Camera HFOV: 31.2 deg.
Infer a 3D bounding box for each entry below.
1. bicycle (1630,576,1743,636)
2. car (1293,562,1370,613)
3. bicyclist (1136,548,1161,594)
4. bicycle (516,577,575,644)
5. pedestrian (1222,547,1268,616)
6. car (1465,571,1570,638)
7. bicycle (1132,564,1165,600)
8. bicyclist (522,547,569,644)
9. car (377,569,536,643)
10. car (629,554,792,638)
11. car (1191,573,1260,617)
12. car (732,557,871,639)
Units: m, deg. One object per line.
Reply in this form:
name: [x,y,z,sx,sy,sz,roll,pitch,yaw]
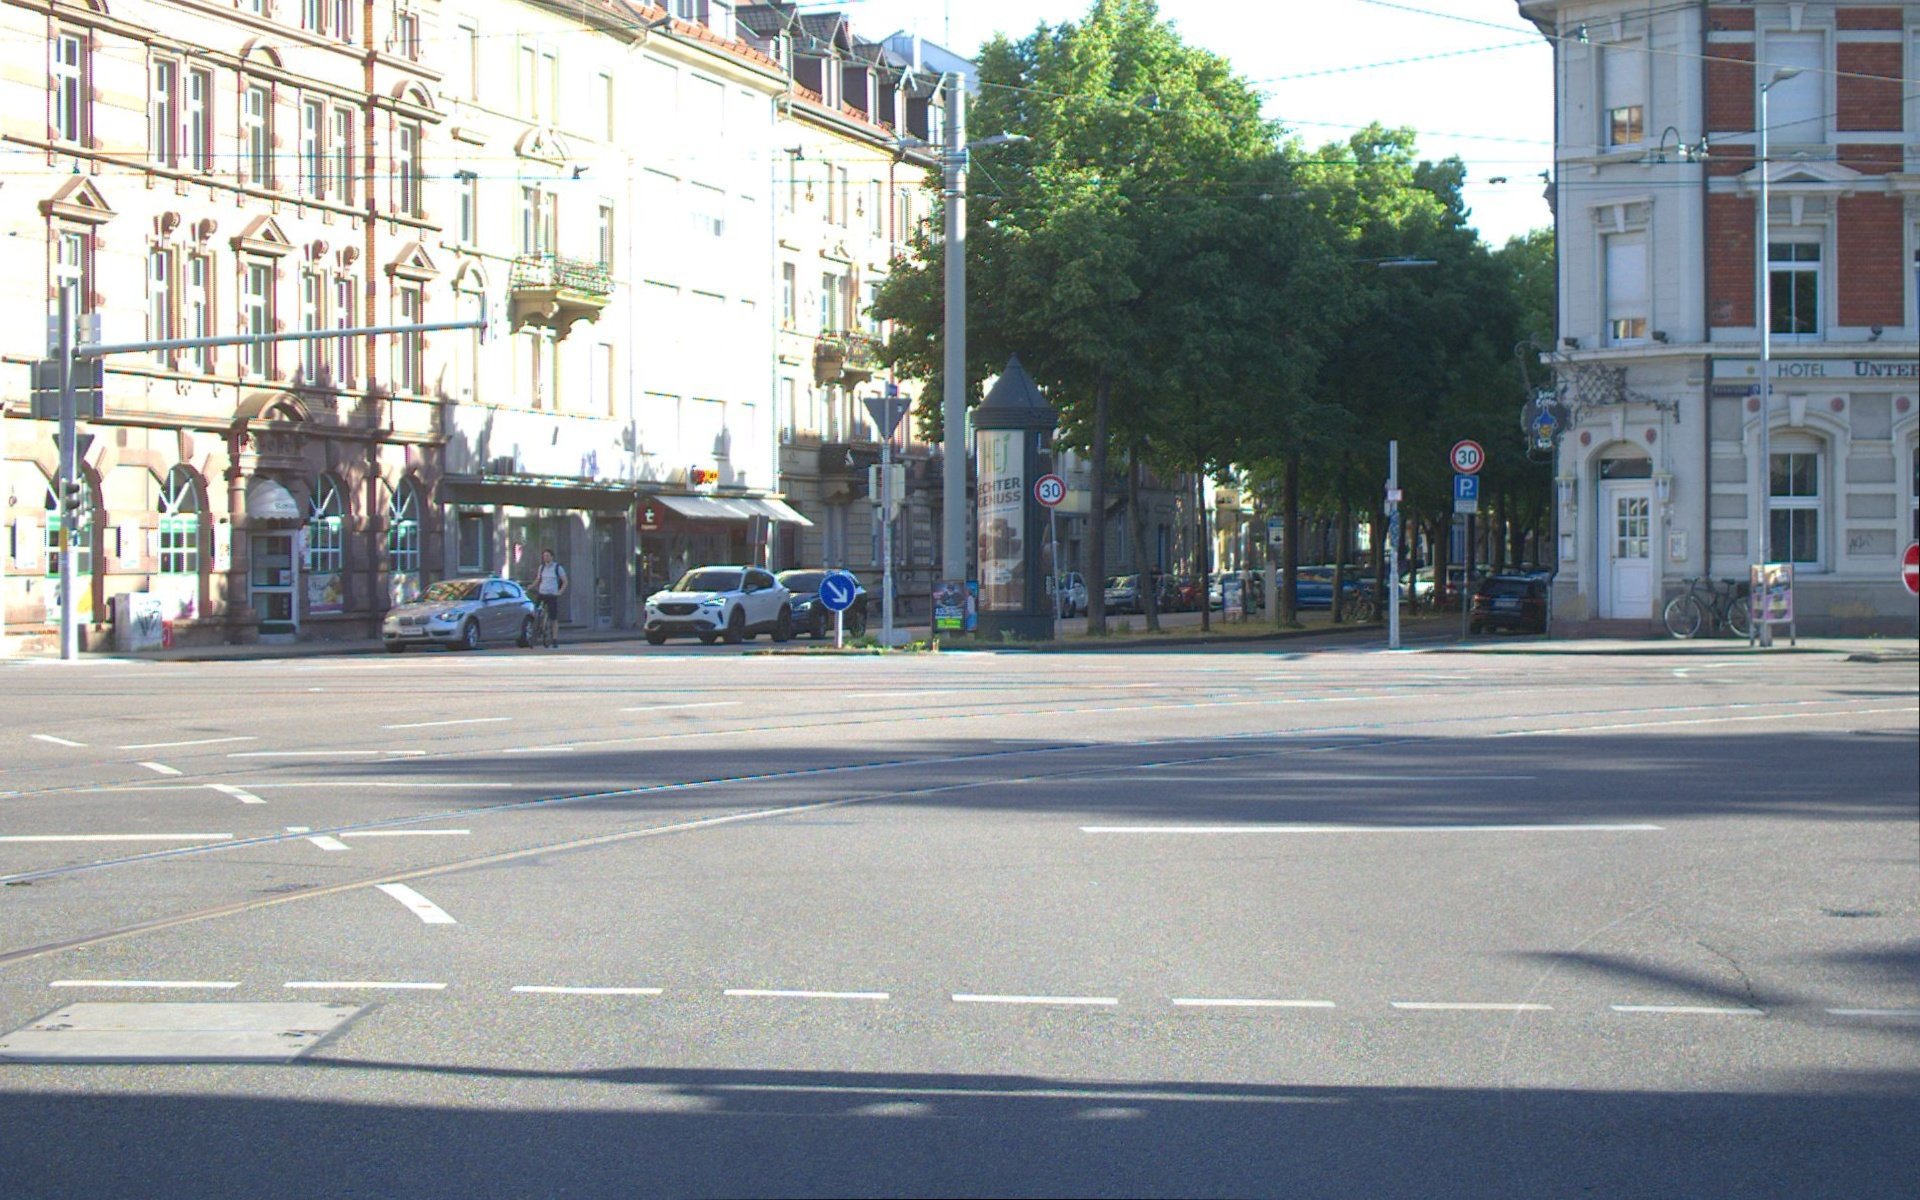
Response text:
bicycle: [12.071,0.098,57.118,1.804,0.959,0.603,1,0,14]
car: [12.626,-0.429,116.609,1.995,1.678,3.997,1,1,15]
bicyclist: [6.507,-1.009,118.651,0.674,1.563,0.747,1,0,18]
bicycle: [-7.847,0.189,65.077,0.565,1.250,1.556,1,1,14]
pedestrian: [8.397,-0.544,101.285,0.961,2.007,0.918,1,0,-32]
car: [13.395,0.099,82.474,1.758,1.550,3.996,1,1,20]
bicycle: [6.502,-0.620,118.652,0.674,1.203,1.820,1,1,18]
bicyclist: [-7.851,-0.088,65.082,0.565,1.797,0.913,1,0,15]
car: [-9.778,0.100,67.067,1.661,1.369,3.889,1,1,15]
car: [-4.836,-0.094,67.276,1.804,1.579,4.156,1,1,17]
car: [9.729,-0.192,125.720,1.804,1.570,3.888,1,1,15]
car: [-3.359,-0.064,73.613,1.826,1.679,3.872,1,1,16]
